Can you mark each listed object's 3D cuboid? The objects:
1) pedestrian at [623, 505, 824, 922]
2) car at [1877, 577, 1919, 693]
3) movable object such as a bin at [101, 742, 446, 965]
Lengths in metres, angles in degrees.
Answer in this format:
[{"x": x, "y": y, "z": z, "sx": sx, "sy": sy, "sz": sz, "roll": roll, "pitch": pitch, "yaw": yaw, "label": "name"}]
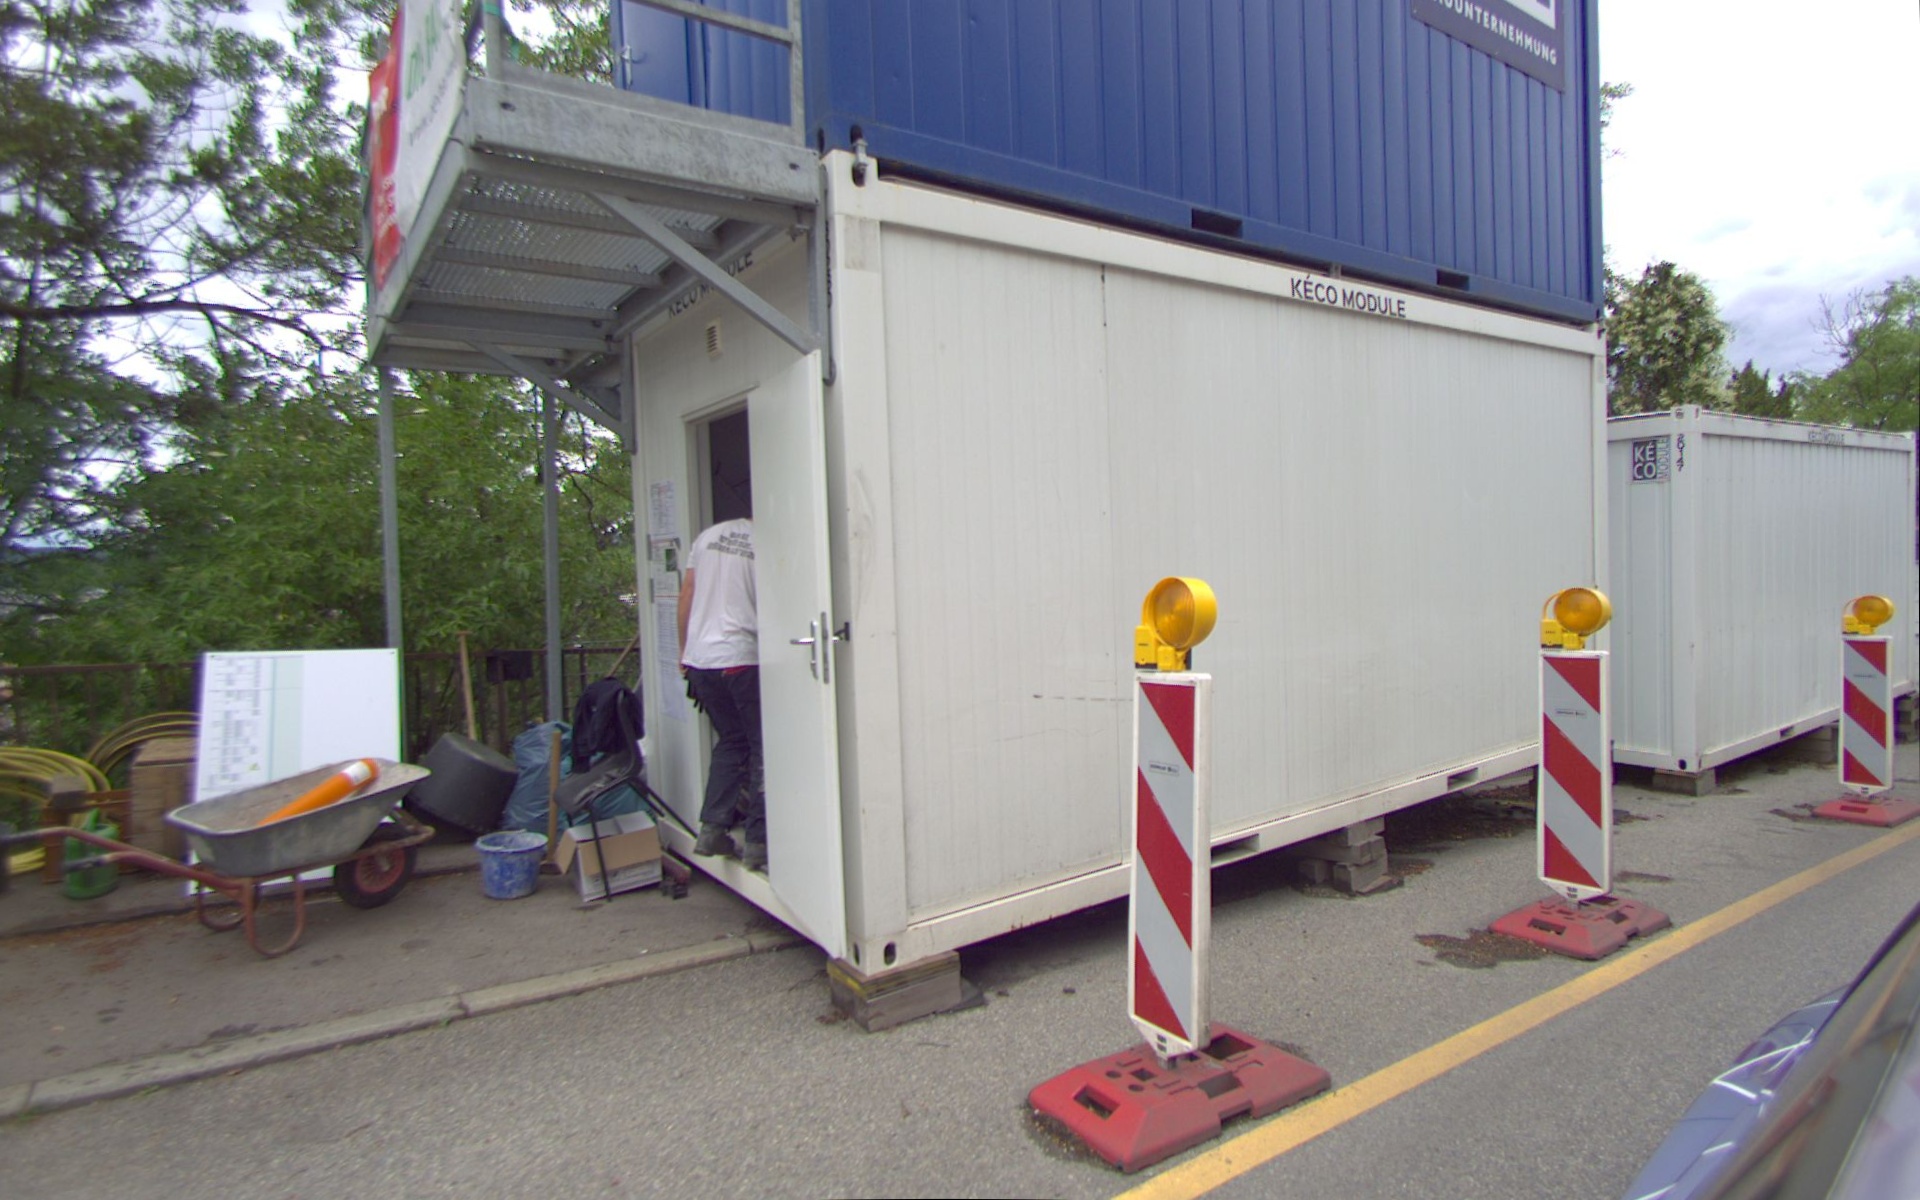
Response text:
[{"x": -1.020, "y": 0.458, "z": 4.469, "sx": 0.640, "sy": 1.682, "sz": 0.648, "roll": -1, "pitch": 0, "yaw": 13, "label": "pedestrian"}, {"x": 16.116, "y": 0.538, "z": 15.477, "sx": 4.414, "sy": 1.662, "sz": 1.848, "roll": -1, "pitch": 5, "yaw": -32, "label": "car"}, {"x": -2.799, "y": 0.987, "z": 4.206, "sx": 0.595, "sy": 0.604, "sz": 1.041, "roll": 1, "pitch": 1, "yaw": 29, "label": "movable object such as a bin"}]
